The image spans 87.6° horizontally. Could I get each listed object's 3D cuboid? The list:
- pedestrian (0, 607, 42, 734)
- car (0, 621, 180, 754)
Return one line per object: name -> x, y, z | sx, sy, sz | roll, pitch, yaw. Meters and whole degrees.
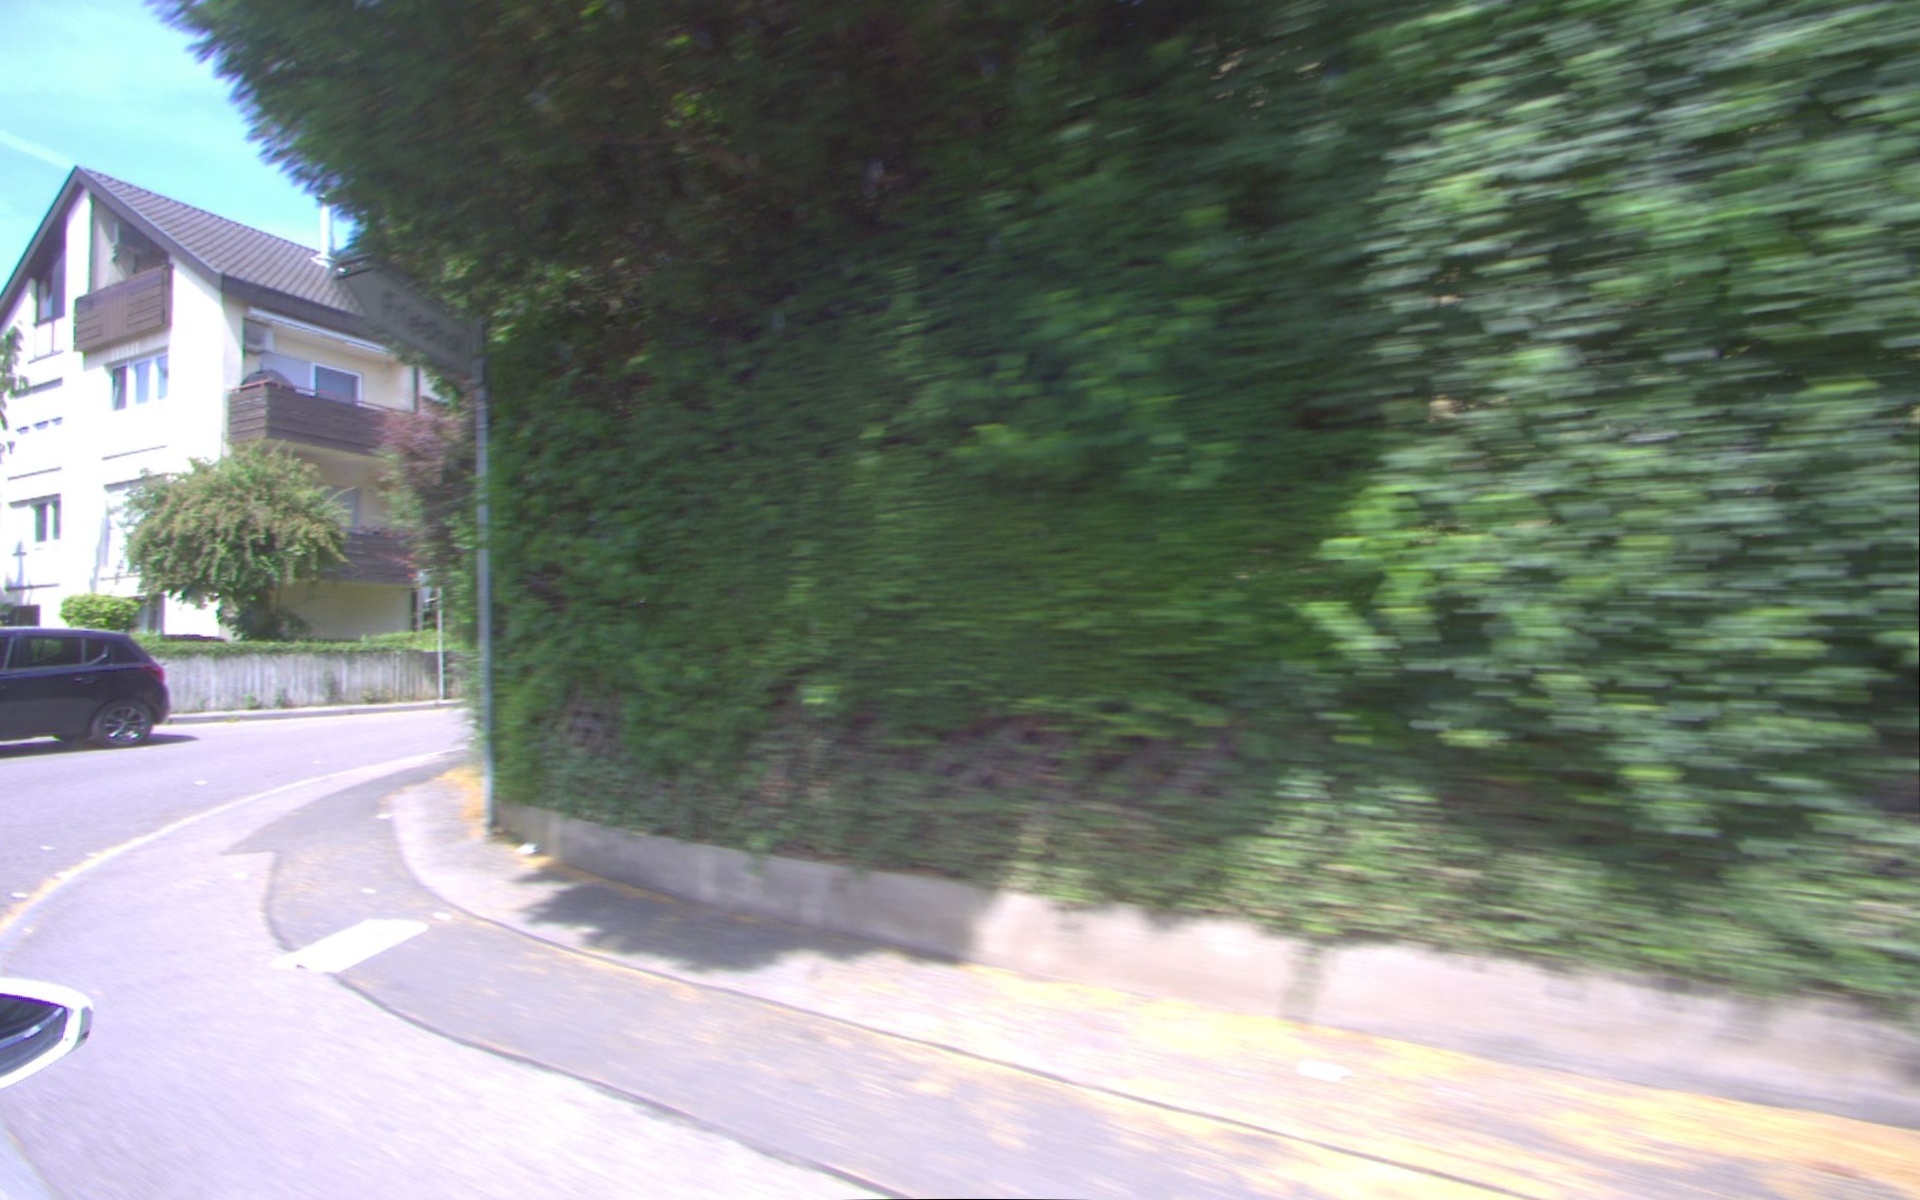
pedestrian -> -12.968, 0.944, 13.586 | 0.691, 1.693, 0.565 | 2, -1, -40
car -> -11.560, 0.983, 11.389 | 1.634, 1.476, 3.929 | -1, -2, 30
